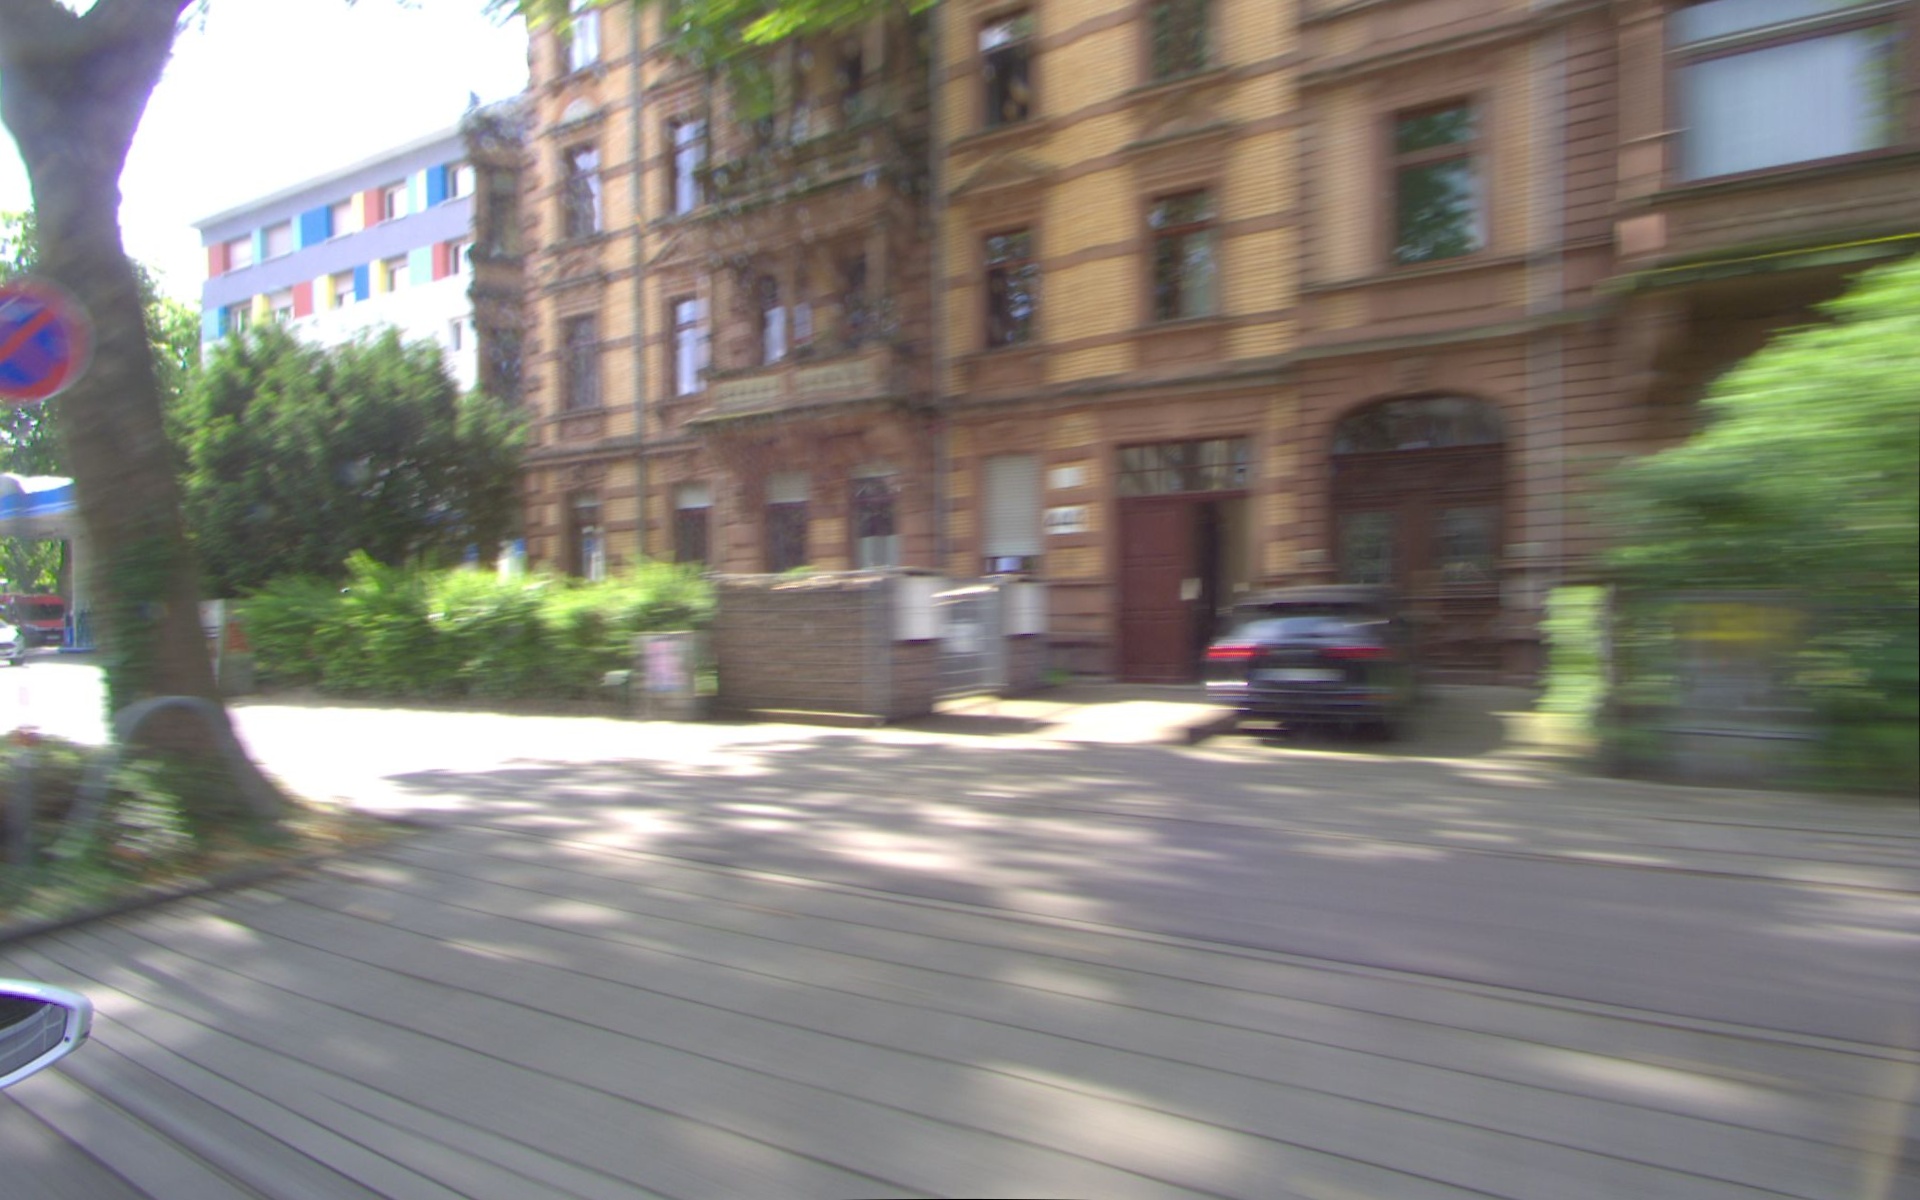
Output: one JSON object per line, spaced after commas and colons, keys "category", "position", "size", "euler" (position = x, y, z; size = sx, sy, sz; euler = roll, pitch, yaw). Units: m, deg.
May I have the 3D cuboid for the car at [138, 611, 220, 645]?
{"category": "car", "position": [-42.321, 1.503, 54.223], "size": [4.584, 1.777, 2.004], "euler": [-1, -1, 31]}

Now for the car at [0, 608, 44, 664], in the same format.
{"category": "car", "position": [-27.101, 0.964, 27.425], "size": [3.940, 1.474, 1.804], "euler": [-1, -1, 29]}

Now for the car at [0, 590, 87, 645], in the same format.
{"category": "car", "position": [-45.554, 0.853, 49.344], "size": [5.931, 2.616, 2.108], "euler": [0, 0, 31]}

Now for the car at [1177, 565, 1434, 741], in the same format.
{"category": "car", "position": [3.900, 0.422, 10.777], "size": [1.912, 1.489, 4.228], "euler": [-1, 1, 29]}
